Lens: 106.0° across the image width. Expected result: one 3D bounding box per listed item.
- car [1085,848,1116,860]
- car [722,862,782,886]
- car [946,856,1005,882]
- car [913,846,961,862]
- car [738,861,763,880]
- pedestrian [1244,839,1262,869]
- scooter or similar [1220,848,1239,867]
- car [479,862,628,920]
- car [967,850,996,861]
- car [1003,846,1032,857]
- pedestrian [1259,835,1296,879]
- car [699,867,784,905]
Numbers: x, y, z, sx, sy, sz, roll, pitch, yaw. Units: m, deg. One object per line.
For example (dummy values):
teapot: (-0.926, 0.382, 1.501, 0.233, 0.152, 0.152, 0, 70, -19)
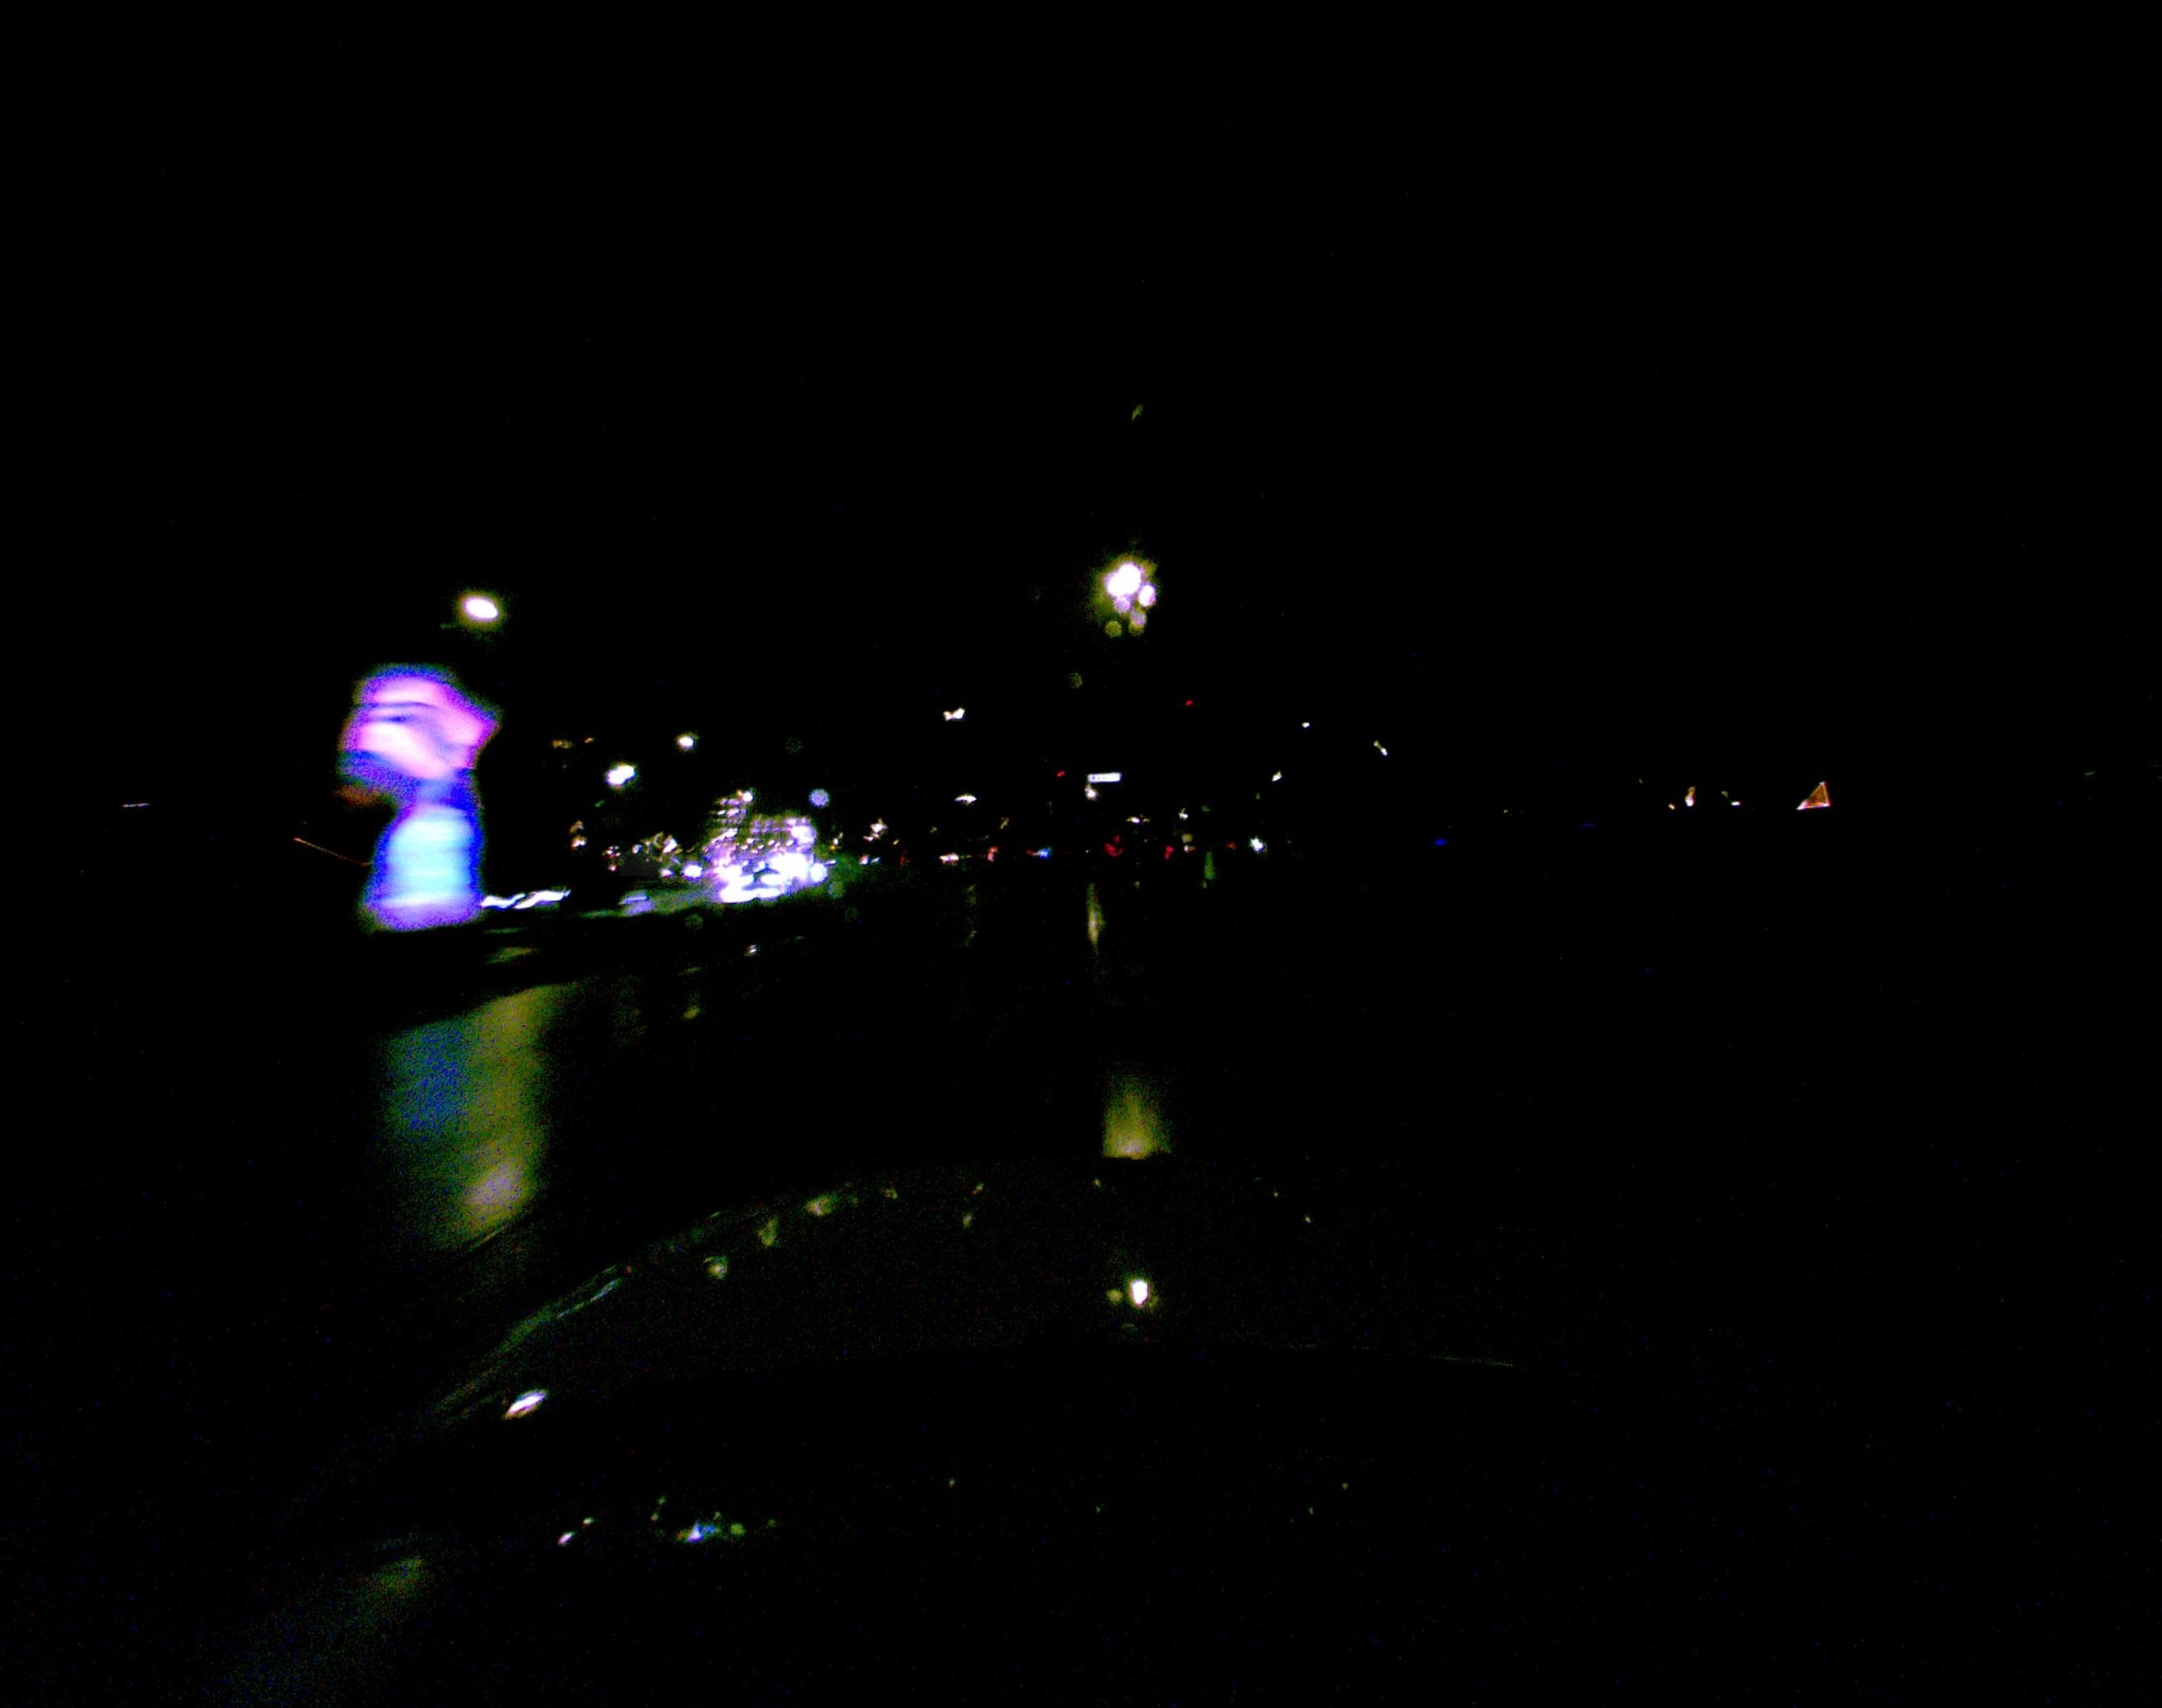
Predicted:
car: (2.732, 0.055, 114.182, 3.949, 1.616, 1.848, -1, 0, 27)
car: (-22.317, 1.320, 55.458, 1.988, 1.402, 5.348, -1, 0, -1)
car: (-8.734, 1.223, 67.473, 4.555, 2.013, 1.988, -1, 0, -18)
car: (-20.238, 0.024, 114.558, 6.320, 2.089, 2.496, -1, 0, -23)
car: (-31.896, 1.588, 78.761, 2.071, 1.715, 5.005, -1, 0, -21)
pedestrian: (8.598, 0.016, 40.797, 0.723, 1.485, 0.836, -1, 0, 1)
scooter or similar: (9.063, 0.217, 49.699, 1.090, 1.097, 0.320, -3, -1, 30)
car: (-15.450, 1.027, 24.141, 1.823, 1.464, 3.999, -1, 0, -1)
car: (-14.182, 0.206, 116.493, 3.981, 1.616, 1.833, -1, 0, -5)
car: (-9.037, -0.350, 116.378, 3.939, 1.578, 1.737, -1, 0, -1)
pedestrian: (8.392, 0.119, 34.790, 1.223, 1.794, 1.490, -1, 0, 1)
car: (-15.049, 1.375, 36.382, 1.823, 1.464, 4.659, -1, 0, 0)
